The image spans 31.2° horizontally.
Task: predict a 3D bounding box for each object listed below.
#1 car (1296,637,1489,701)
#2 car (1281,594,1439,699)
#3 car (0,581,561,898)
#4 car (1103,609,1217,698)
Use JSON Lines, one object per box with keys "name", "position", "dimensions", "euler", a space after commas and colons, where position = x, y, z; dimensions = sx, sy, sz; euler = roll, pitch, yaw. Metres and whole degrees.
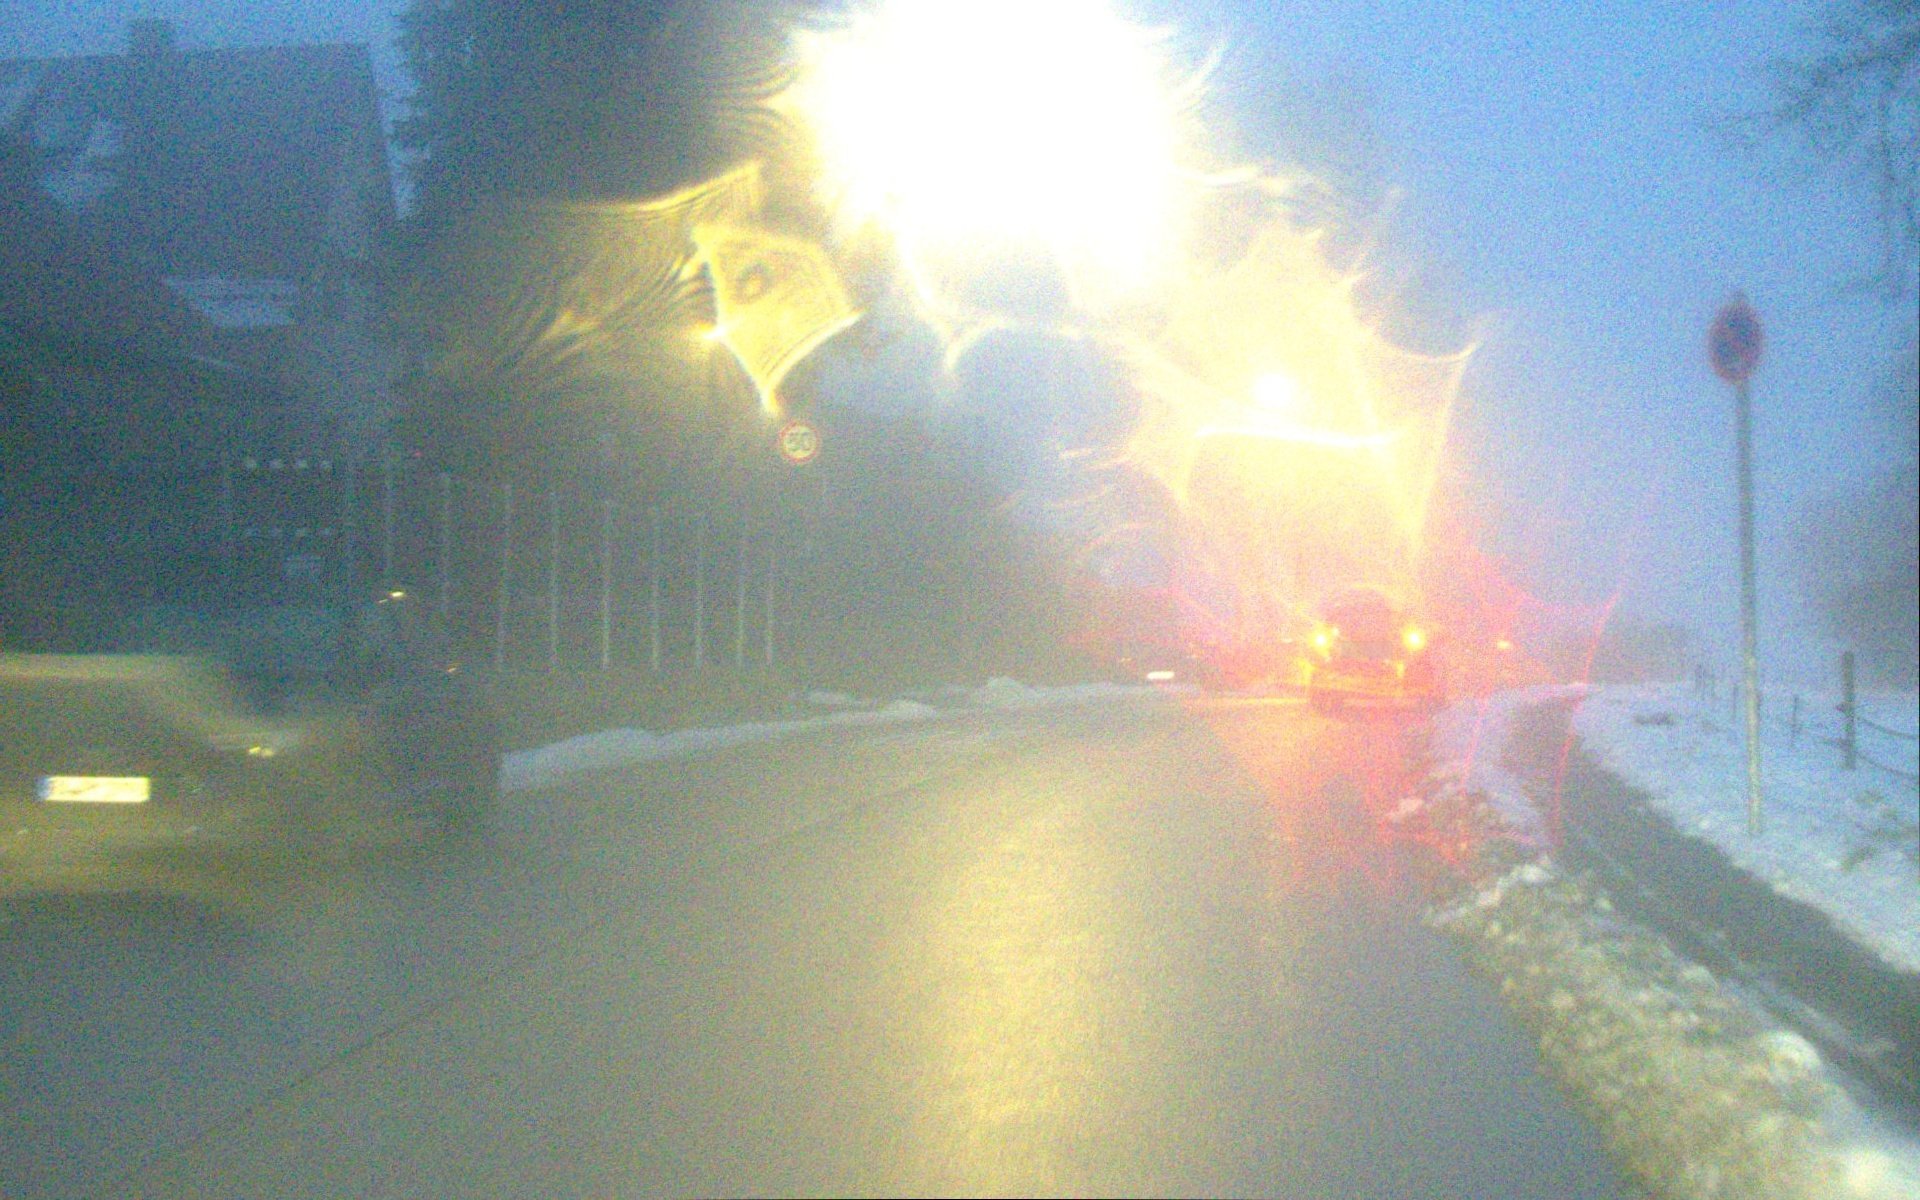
{"name": "car", "position": [11.901, 1.926, 94.543], "dimensions": [4.891, 1.480, 2.121], "euler": [-4, -3, 18]}
{"name": "car", "position": [5.756, 0.663, 49.092], "dimensions": [1.994, 1.415, 3.998], "euler": [-1, -1, 10]}
{"name": "car", "position": [-3.693, 0.620, 18.480], "dimensions": [1.877, 1.421, 5.391], "euler": [1, 0, 7]}
{"name": "car", "position": [4.090, 1.138, 70.916], "dimensions": [1.993, 1.561, 4.996], "euler": [-4, -3, 0]}
